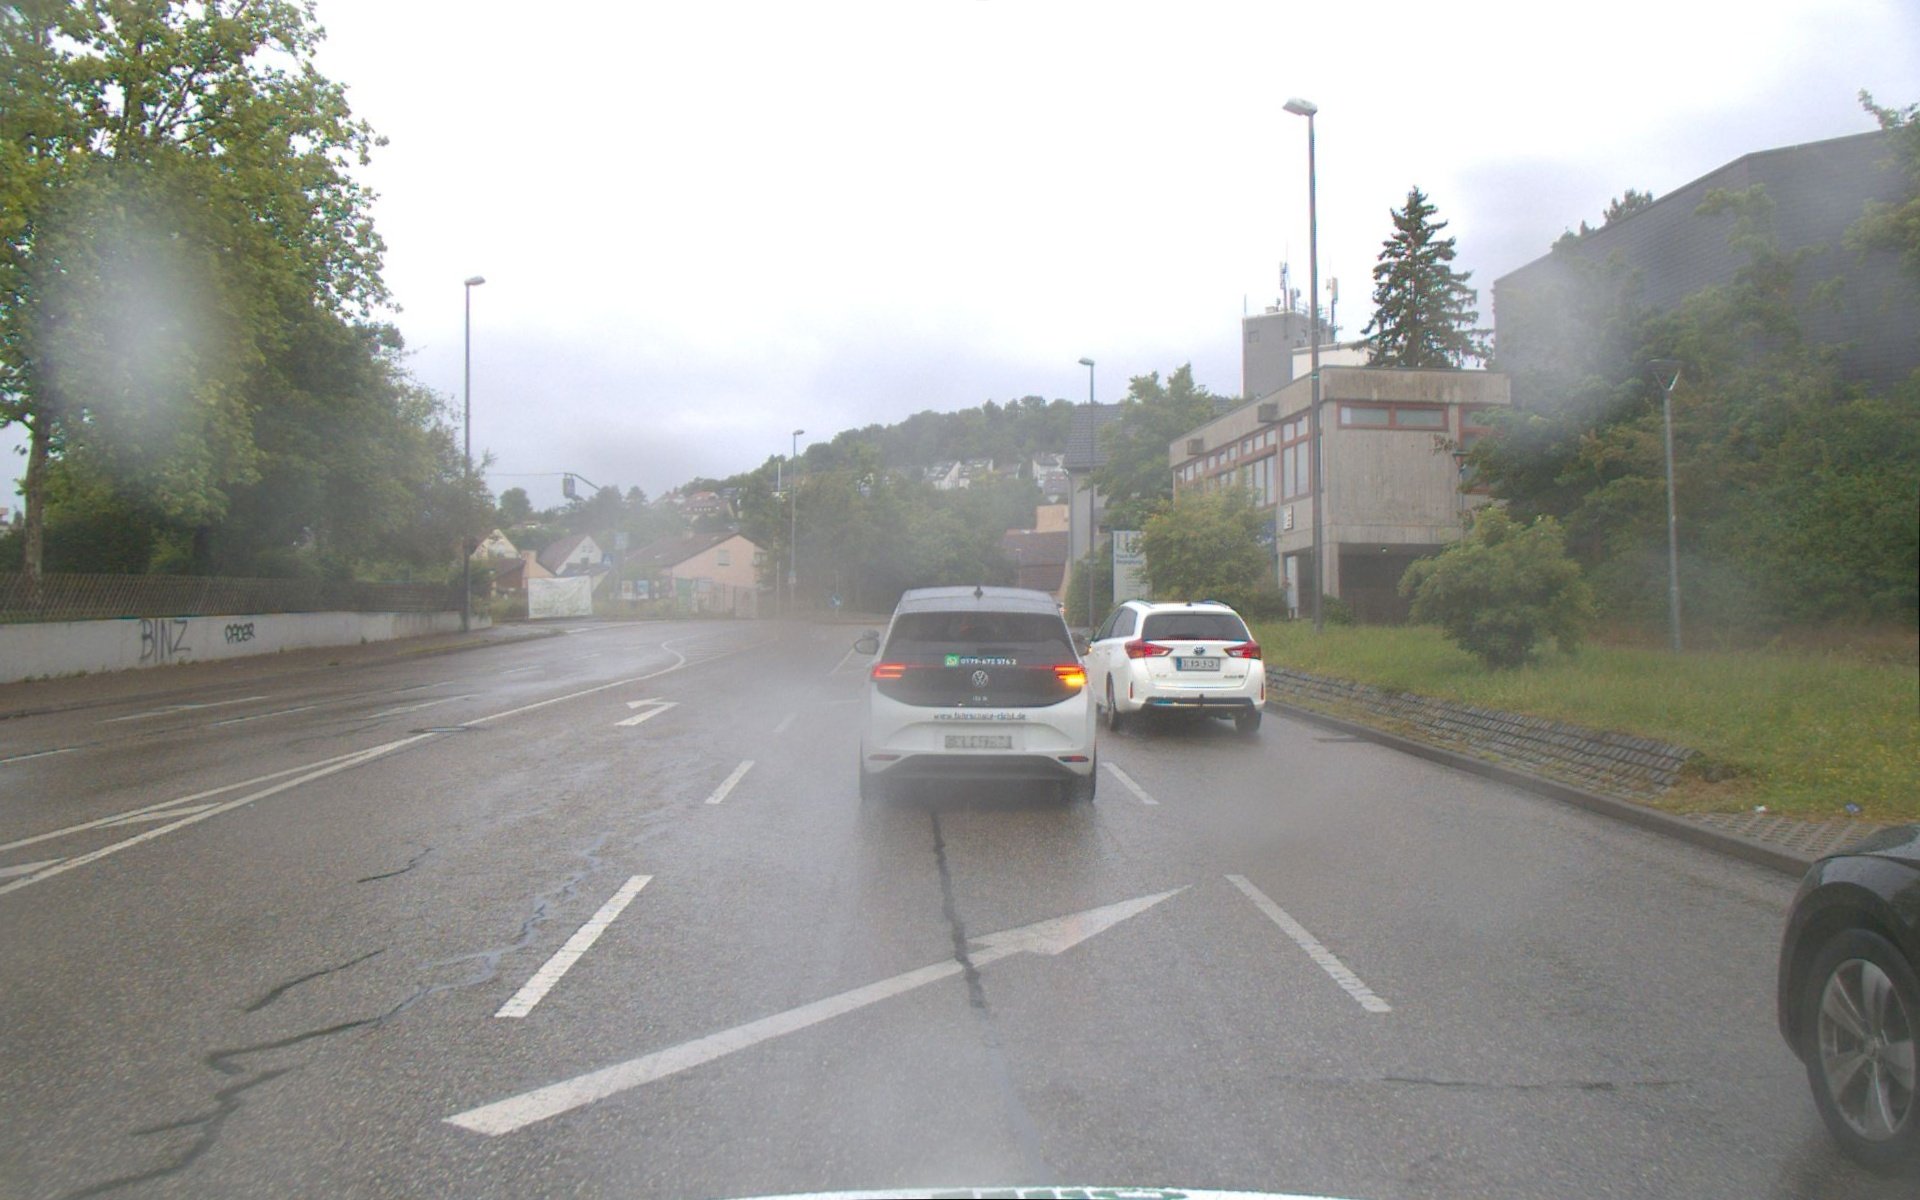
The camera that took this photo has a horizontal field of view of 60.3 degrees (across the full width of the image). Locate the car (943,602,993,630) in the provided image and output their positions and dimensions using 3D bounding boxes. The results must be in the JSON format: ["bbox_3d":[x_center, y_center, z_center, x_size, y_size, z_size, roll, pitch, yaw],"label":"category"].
[{"bbox_3d":[0.549,1.034,107.335,1.952,1.723,4.707,1,-1,17],"label":"car"}]

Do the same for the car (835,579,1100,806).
[{"bbox_3d":[0.122,0.652,13.316,1.790,1.526,4.169,0,-1,2],"label":"car"}]

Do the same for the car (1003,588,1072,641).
[{"bbox_3d":[2.339,0.460,50.383,1.952,1.478,3.771,-2,-1,2],"label":"car"}]

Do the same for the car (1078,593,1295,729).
[{"bbox_3d":[2.562,0.673,19.702,1.811,1.434,4.299,1,-1,-3],"label":"car"}]

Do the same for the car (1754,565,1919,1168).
[{"bbox_3d":[3.442,0.701,2.781,1.914,1.534,4.607,2,-1,-1],"label":"car"}]

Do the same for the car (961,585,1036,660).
[{"bbox_3d":[0.803,0.460,36.485,1.535,1.557,4.000,0,0,-1],"label":"car"}]

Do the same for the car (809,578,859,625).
[{"bbox_3d":[-5.693,0.105,75.236,1.953,2.049,3.999,1,-1,0],"label":"car"}]

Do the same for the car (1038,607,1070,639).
[{"bbox_3d":[6.121,1.495,107.716,1.952,2.049,4.001,1,-1,2],"label":"car"}]
